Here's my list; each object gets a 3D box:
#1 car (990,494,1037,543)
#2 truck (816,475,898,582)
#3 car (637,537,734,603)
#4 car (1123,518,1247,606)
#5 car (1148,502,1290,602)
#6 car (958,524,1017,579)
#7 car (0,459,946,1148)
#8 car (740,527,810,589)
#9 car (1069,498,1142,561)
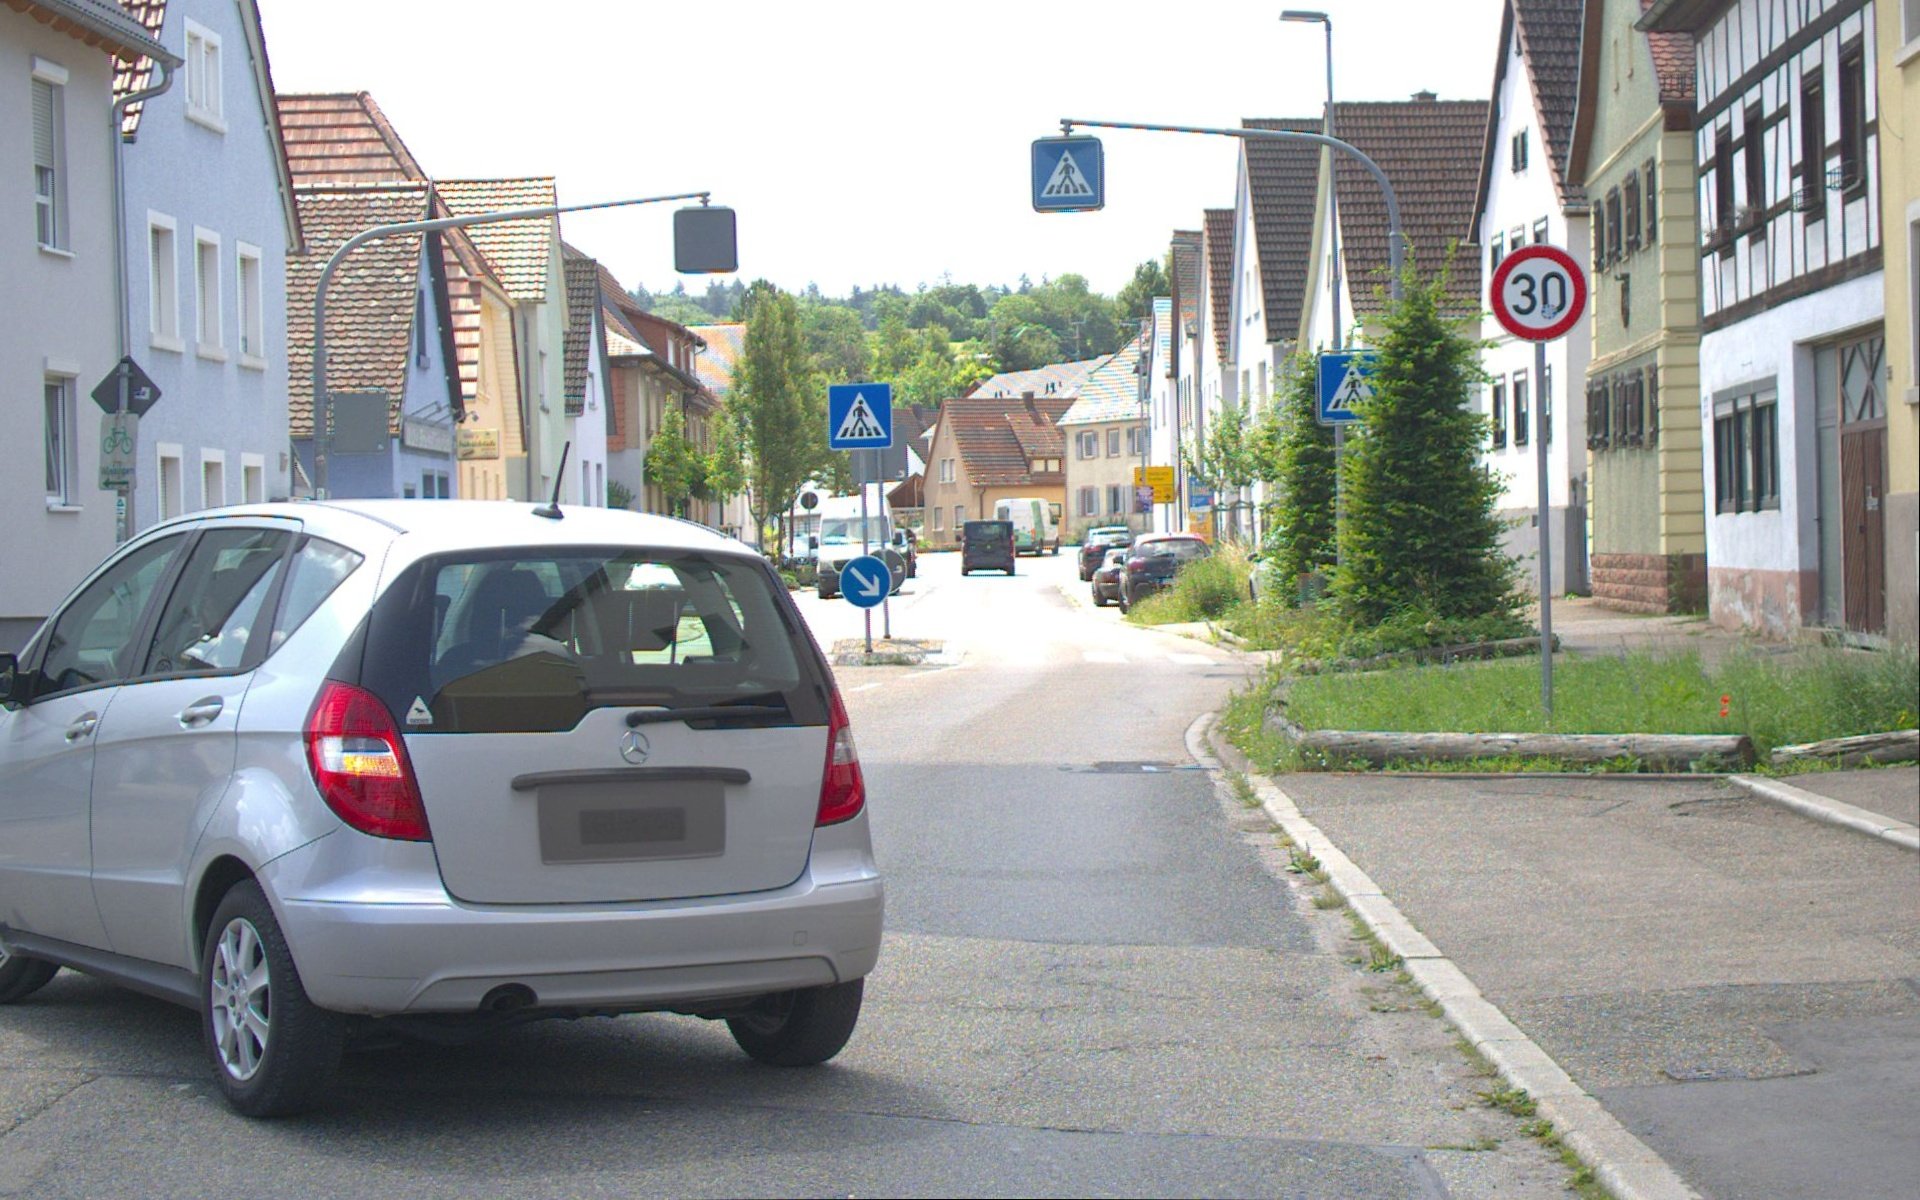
[{"bbox_3d":[2.342,-3.579,151.378,1.993,2.007,4.000,0,-1,0],"label":"car"},{"bbox_3d":[-2.618,-1.801,88.977,1.993,2.528,6.739,0,-1,-1],"label":"truck"},{"bbox_3d":[-5.851,-0.627,73.060,1.993,1.317,3.709,0,-1,-5],"label":"car"},{"bbox_3d":[4.034,-0.662,62.280,1.993,1.503,4.000,0,-1,0],"label":"car"},{"bbox_3d":[4.137,-0.747,55.376,1.993,1.503,4.000,0,-1,0],"label":"car"},{"bbox_3d":[0.963,-1.700,121.669,1.993,1.810,4.000,0,-1,-1],"label":"car"},{"bbox_3d":[-1.789,0.462,10.231,1.810,1.638,3.729,1,1,-31],"label":"car"},{"bbox_3d":[-4.992,-1.115,93.332,1.667,1.590,4.000,0,-1,0],"label":"car"},{"bbox_3d":[4.457,-2.140,105.729,1.993,1.810,4.000,0,-1,-1],"label":"car"}]
